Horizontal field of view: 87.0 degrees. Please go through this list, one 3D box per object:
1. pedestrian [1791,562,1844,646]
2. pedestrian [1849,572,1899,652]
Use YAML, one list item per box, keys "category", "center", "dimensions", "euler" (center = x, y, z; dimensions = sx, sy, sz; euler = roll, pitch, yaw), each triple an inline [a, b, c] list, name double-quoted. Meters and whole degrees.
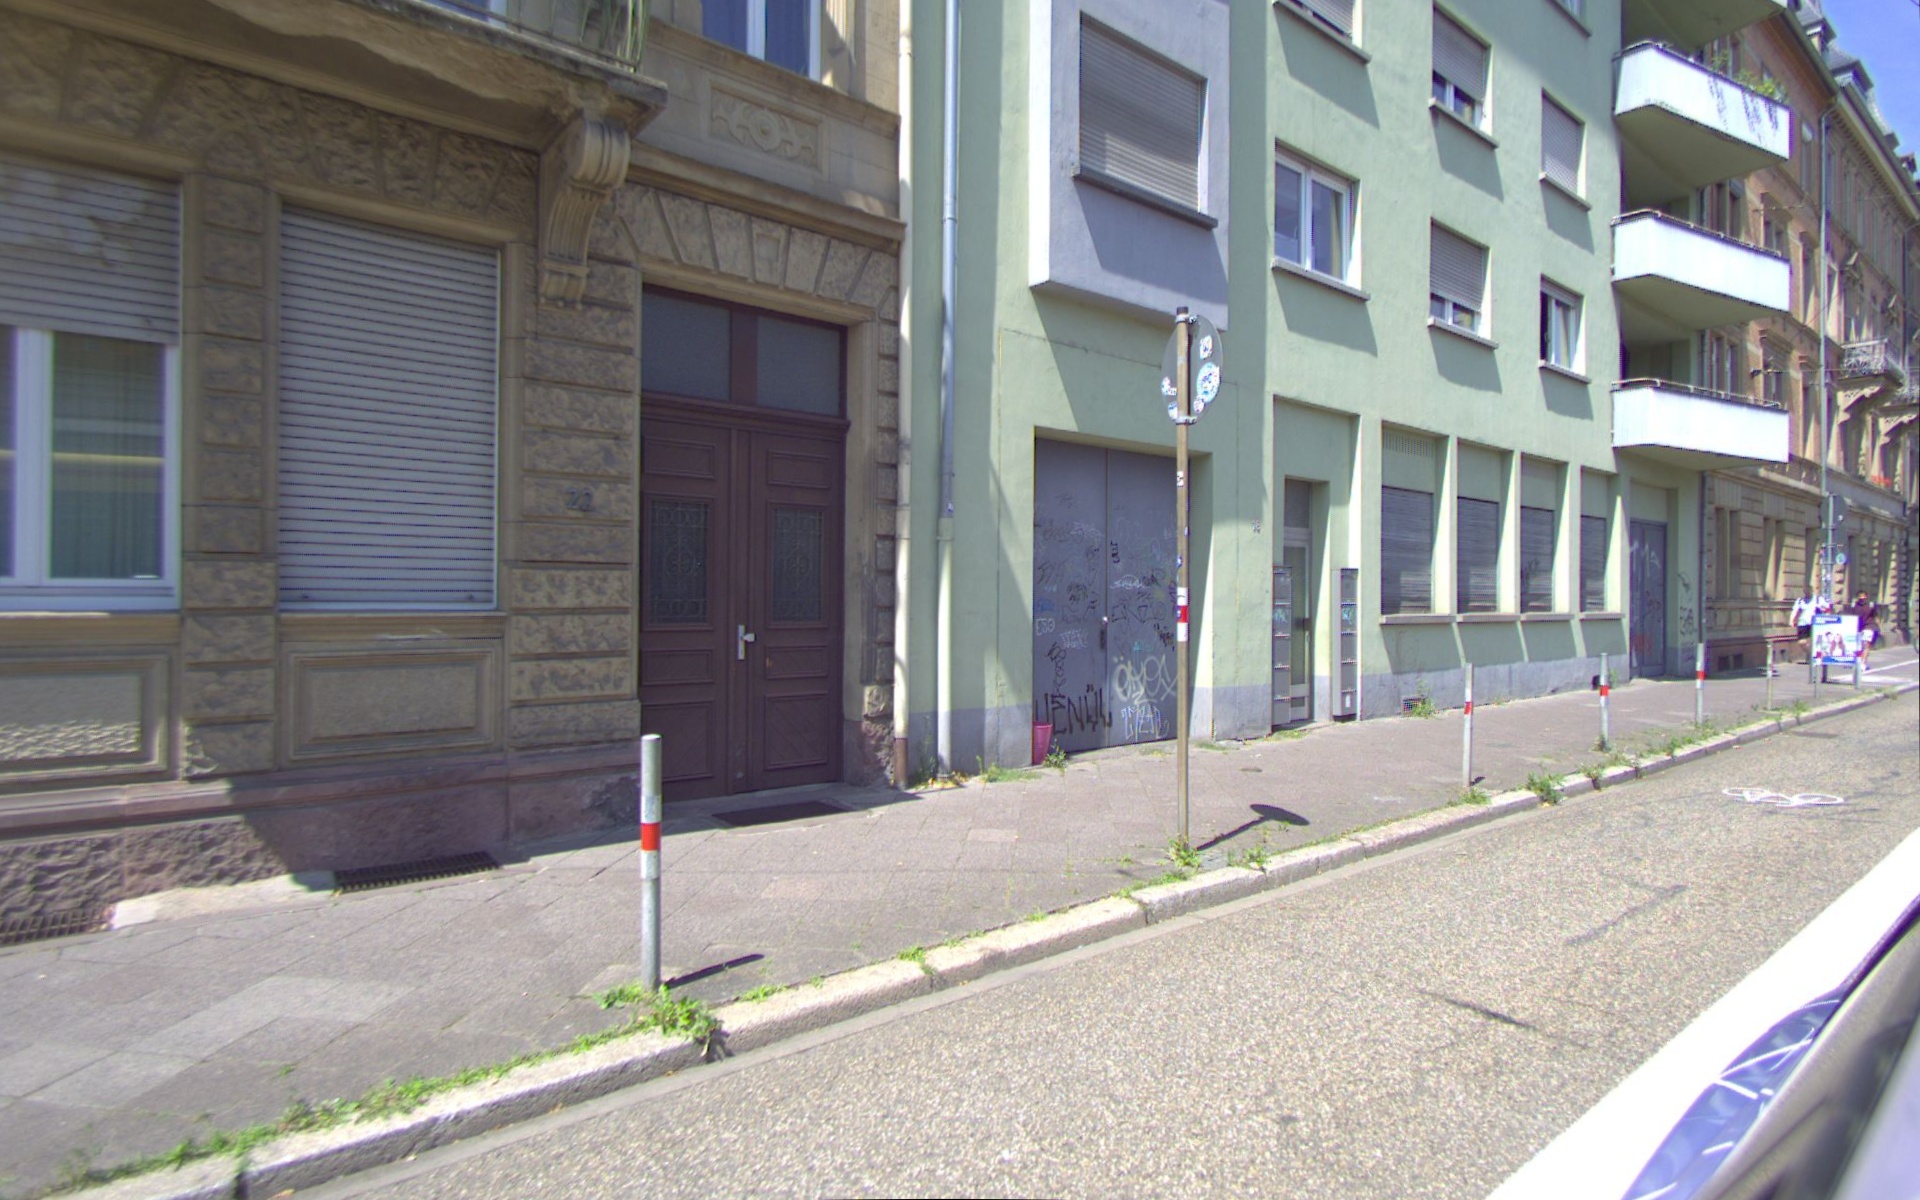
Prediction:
- category: "pedestrian"
  center: [19.716, 0.079, 23.261]
  dimensions: [0.632, 1.871, 0.705]
  euler: [0, 3, -37]
- category: "pedestrian"
  center: [20.363, 0.257, 22.546]
  dimensions: [0.632, 1.741, 0.722]
  euler: [0, 0, -37]
